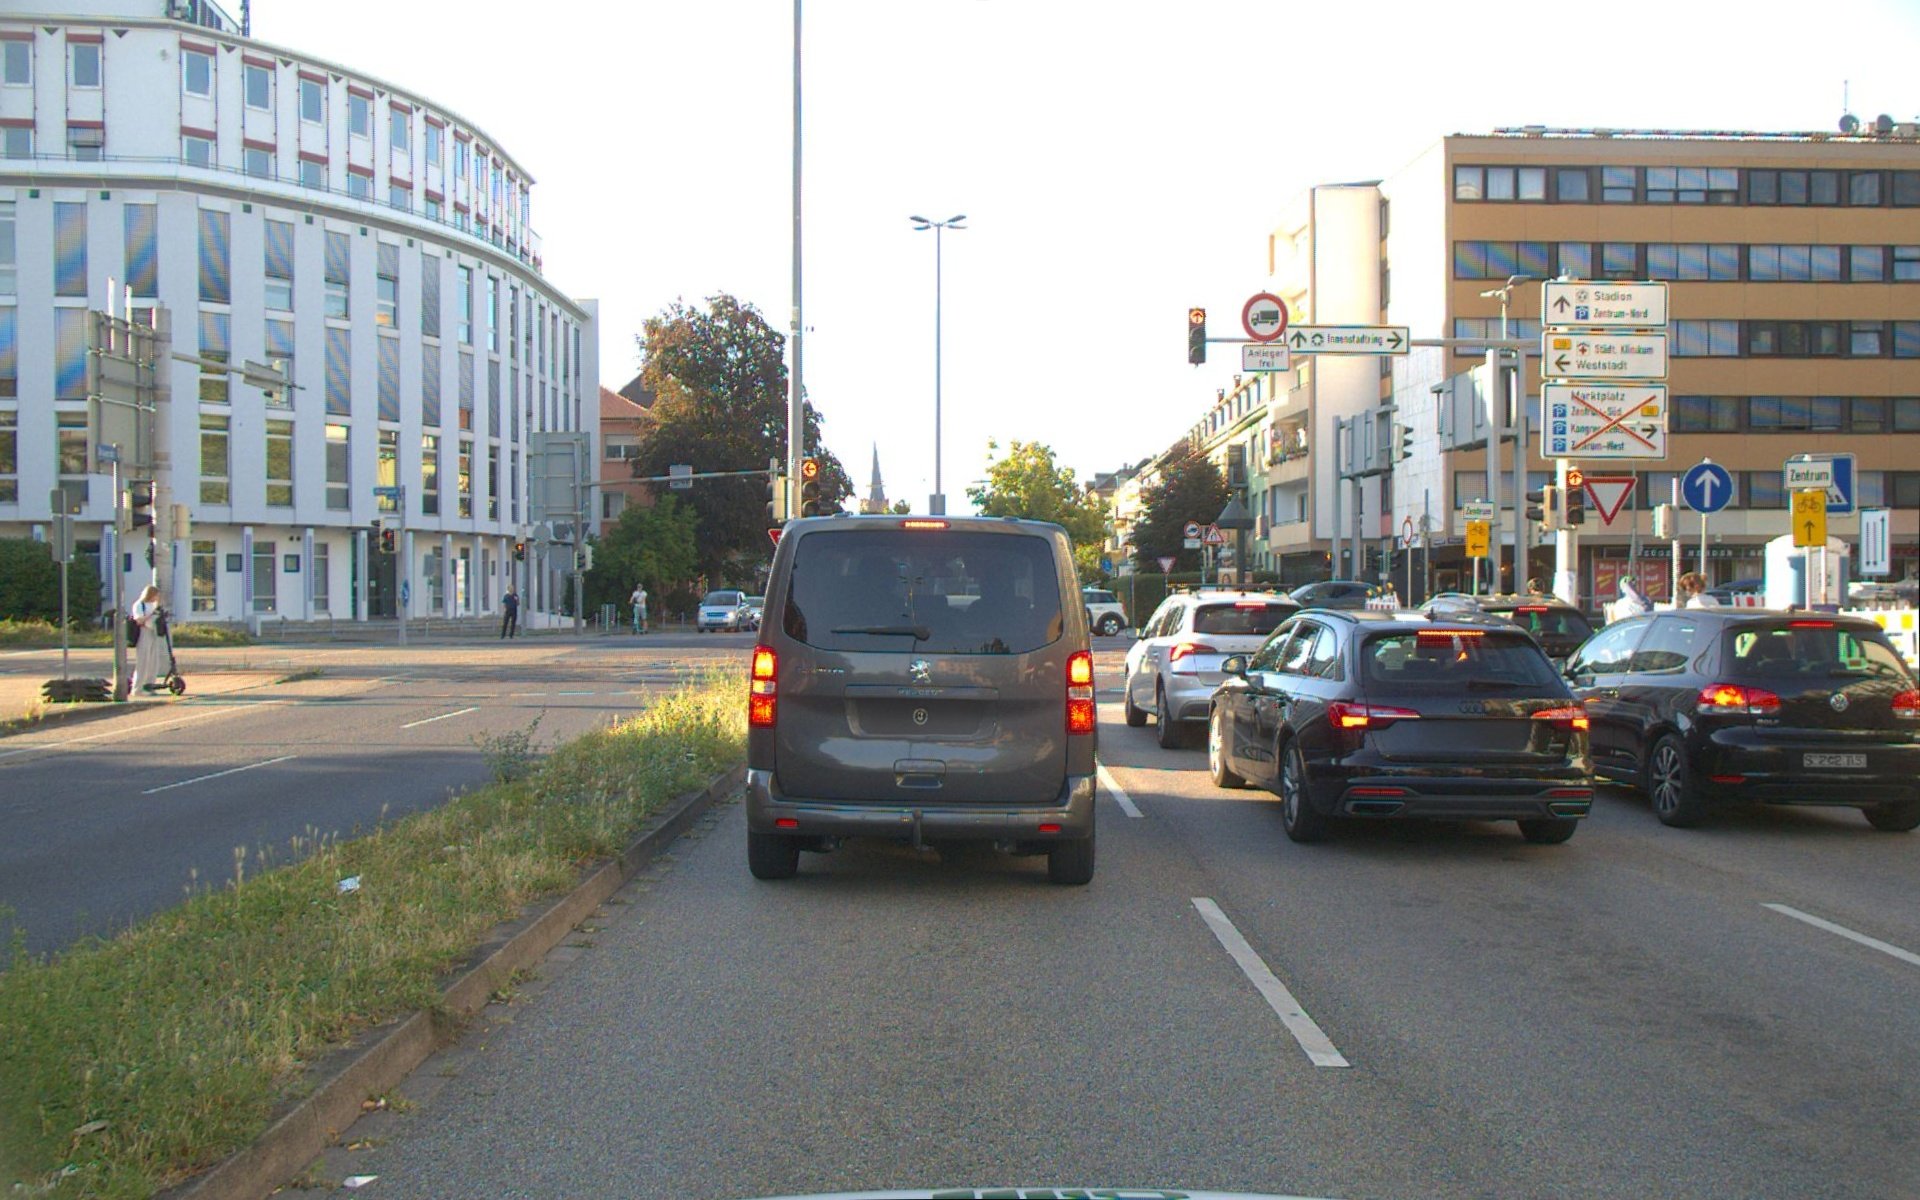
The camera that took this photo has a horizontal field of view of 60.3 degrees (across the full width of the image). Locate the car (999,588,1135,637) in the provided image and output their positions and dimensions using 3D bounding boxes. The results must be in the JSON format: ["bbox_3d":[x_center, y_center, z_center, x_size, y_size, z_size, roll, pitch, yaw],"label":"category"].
[{"bbox_3d":[3.301,0.378,51.218,3.913,1.445,1.784,0,0,-9],"label":"car"}]

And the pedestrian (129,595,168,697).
[{"bbox_3d":[-12.308,0.687,25.091,0.466,1.532,0.334,0,0,-13],"label":"pedestrian"}]

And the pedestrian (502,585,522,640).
[{"bbox_3d":[-14.520,0.402,53.590,0.615,1.752,0.669,0,0,-15],"label":"pedestrian"}]

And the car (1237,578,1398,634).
[{"bbox_3d":[10.432,0.168,48.385,4.255,1.576,1.785,0,0,-7],"label":"car"}]

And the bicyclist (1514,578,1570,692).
[{"bbox_3d":[8.072,0.473,22.956,0.503,1.552,0.725,0,0,-1],"label":"bicyclist"}]

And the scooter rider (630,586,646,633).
[{"bbox_3d":[-11.831,0.336,60.746,0.471,1.727,0.636,0,0,-1],"label":"scooter rider"}]

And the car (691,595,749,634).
[{"bbox_3d":[-9.375,0.543,64.843,1.818,1.445,3.998,-1,0,-2],"label":"car"}]

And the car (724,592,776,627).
[{"bbox_3d":[-8.915,0.387,70.540,1.818,1.445,3.998,-1,0,-2],"label":"car"}]

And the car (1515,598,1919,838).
[{"bbox_3d":[5.610,0.751,12.377,1.600,1.474,3.744,1,0,-1],"label":"car"}]

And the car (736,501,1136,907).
[{"bbox_3d":[-0.141,0.482,10.140,1.868,1.896,4.526,1,0,-1],"label":"car"}]

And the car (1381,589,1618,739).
[{"bbox_3d":[5.763,0.621,18.028,1.474,1.474,3.304,0,0,-1],"label":"car"}]

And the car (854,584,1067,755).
[{"bbox_3d":[-0.020,0.627,17.266,1.953,1.557,3.999,0,0,-1],"label":"car"}]

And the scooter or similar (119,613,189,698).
[{"bbox_3d":[-12.130,0.828,24.912,0.877,1.255,0.370,0,0,-12],"label":"scooter or similar"}]

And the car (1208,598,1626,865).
[{"bbox_3d":[2.881,0.734,11.386,1.647,1.446,4.213,1,0,-1],"label":"car"}]

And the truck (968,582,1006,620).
[{"bbox_3d":[1.538,0.035,94.043,2.084,2.123,4.632,-1,0,1],"label":"truck"}]

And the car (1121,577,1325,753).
[{"bbox_3d":[2.684,0.608,17.581,1.497,1.641,3.744,1,0,-1],"label":"car"}]

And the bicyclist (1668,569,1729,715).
[{"bbox_3d":[7.971,0.449,17.861,0.432,1.552,0.482,0,0,-1],"label":"bicyclist"}]

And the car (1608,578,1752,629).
[{"bbox_3d":[21.700,0.092,49.941,3.602,1.412,1.695,-2,0,-4],"label":"car"}]

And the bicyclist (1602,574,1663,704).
[{"bbox_3d":[8.138,0.462,20.021,0.432,1.552,0.725,0,0,-1],"label":"bicyclist"}]

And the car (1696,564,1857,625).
[{"bbox_3d":[25.933,-0.179,52.623,4.129,1.849,2.000,-1,0,-1],"label":"car"}]

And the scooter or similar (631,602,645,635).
[{"bbox_3d":[-11.807,0.679,60.688,0.279,1.209,1.169,0,0,-1],"label":"scooter or similar"}]
